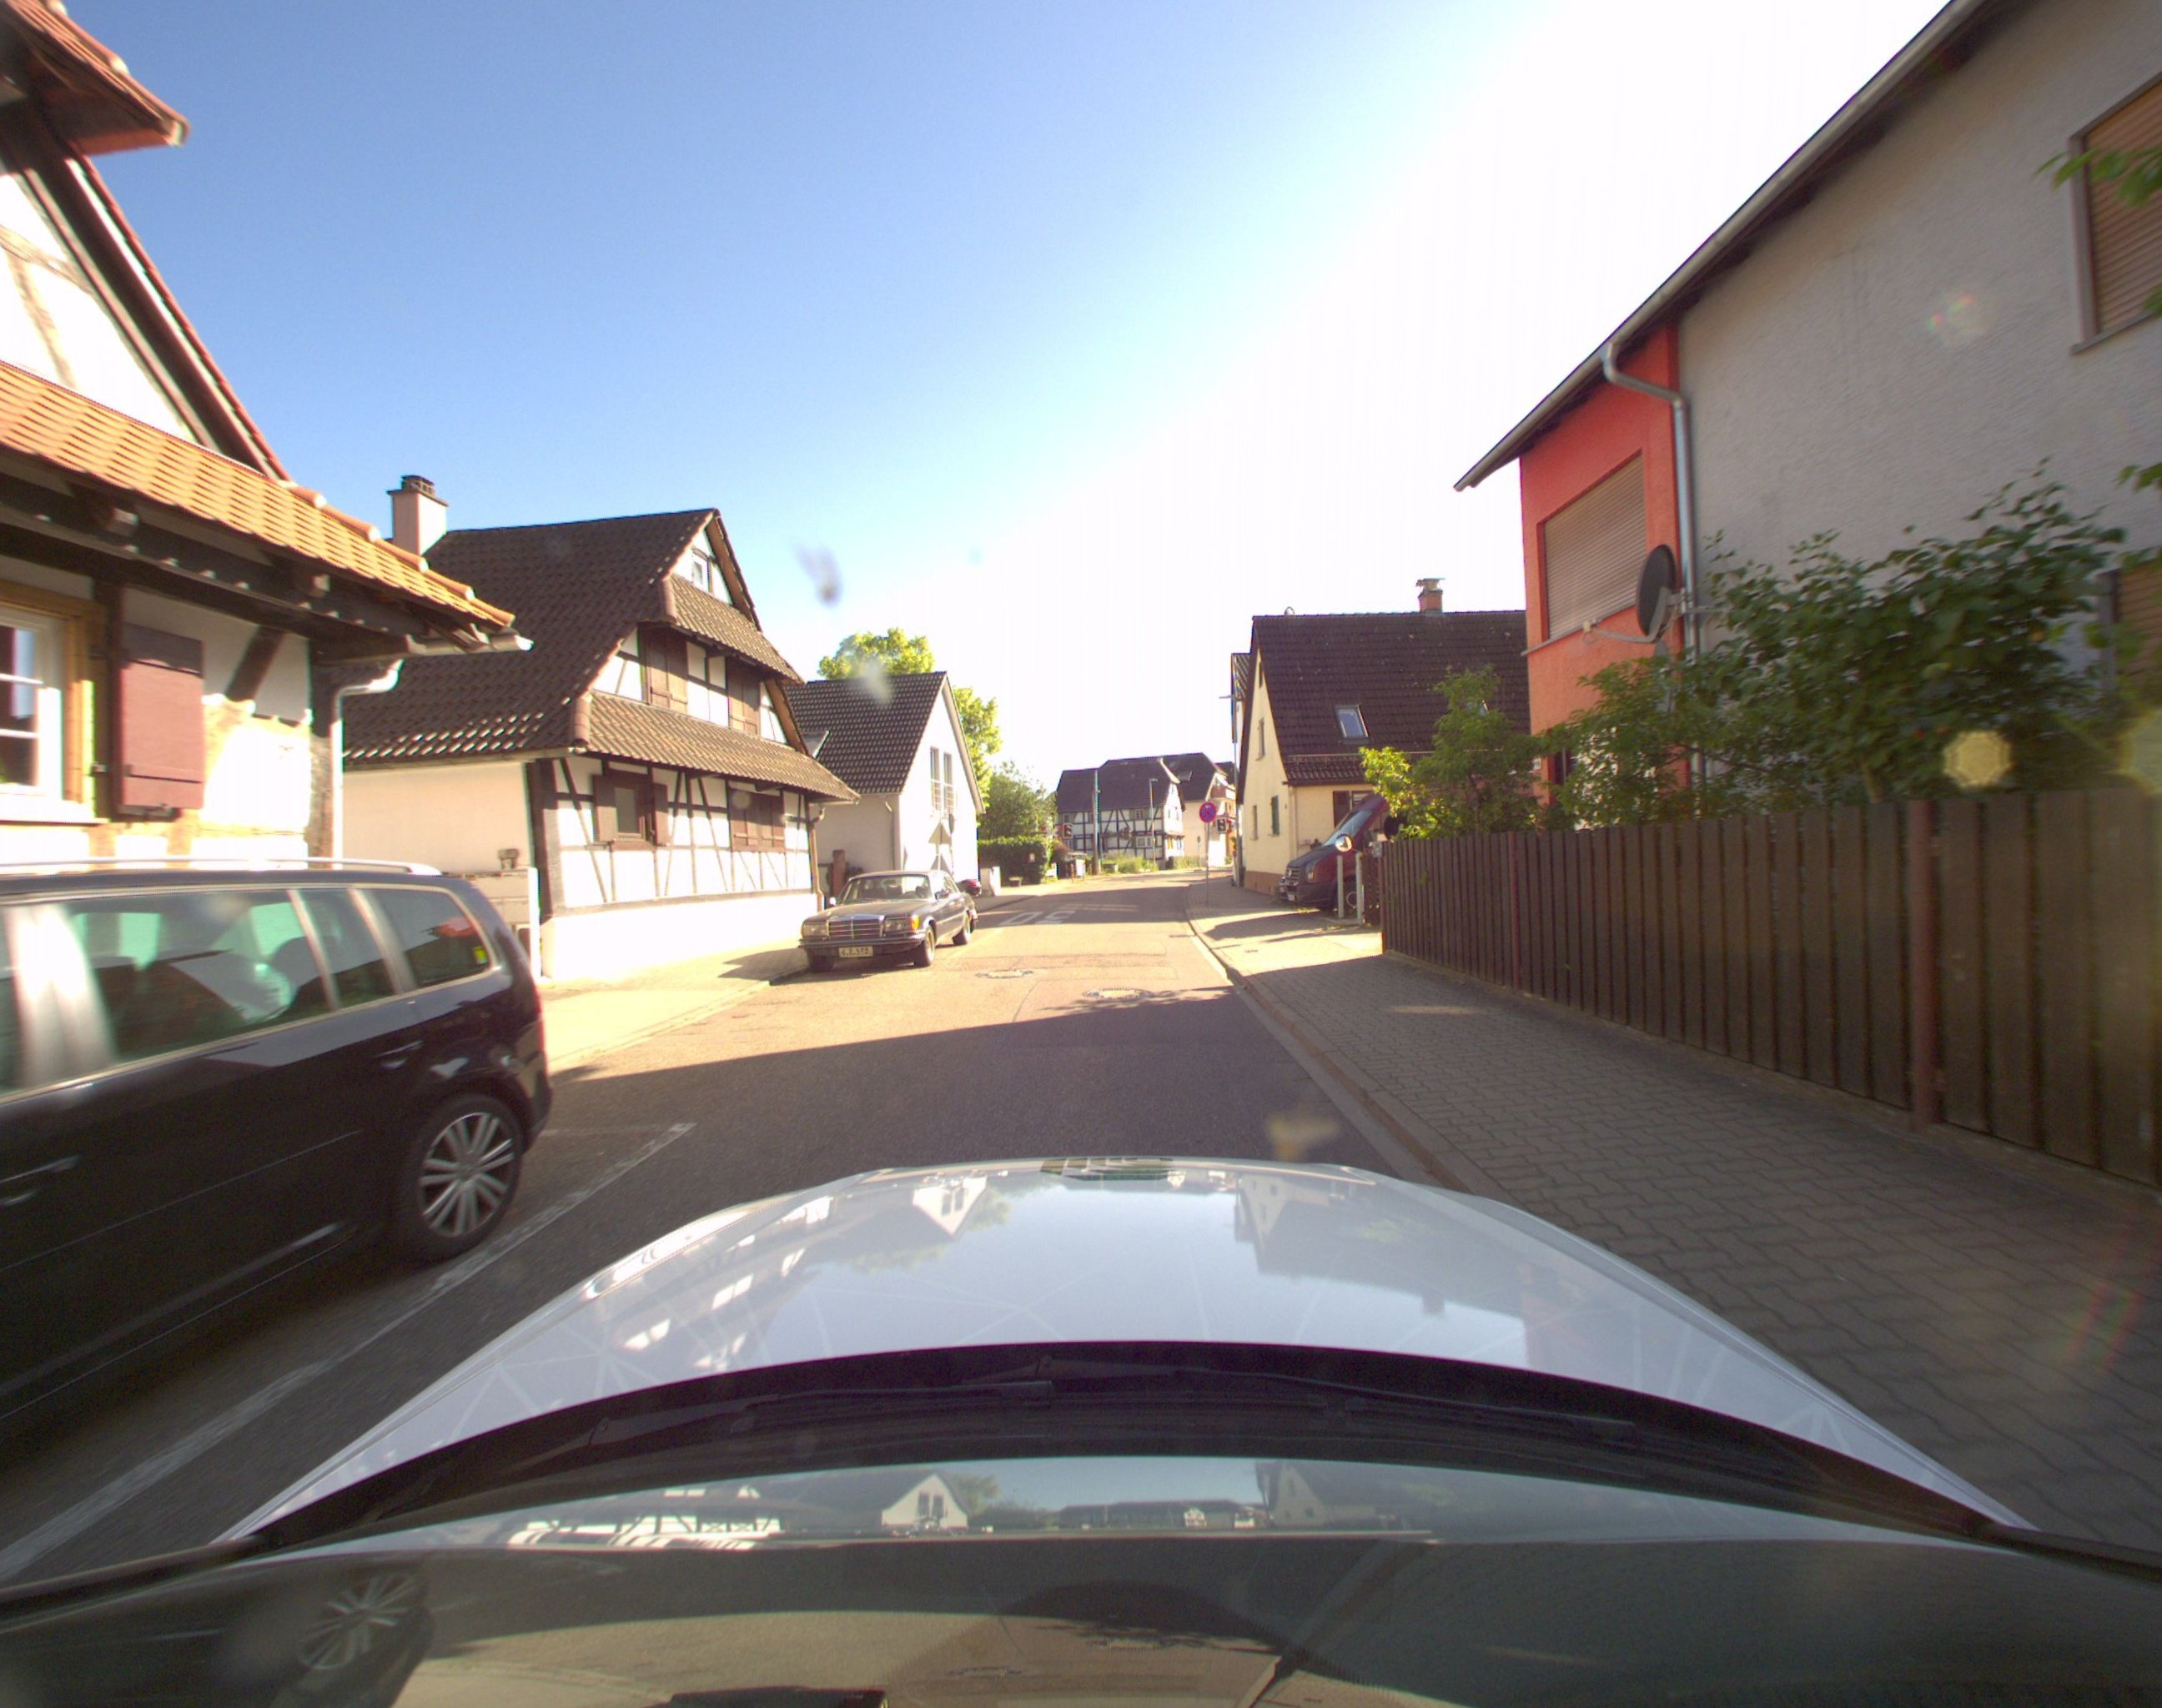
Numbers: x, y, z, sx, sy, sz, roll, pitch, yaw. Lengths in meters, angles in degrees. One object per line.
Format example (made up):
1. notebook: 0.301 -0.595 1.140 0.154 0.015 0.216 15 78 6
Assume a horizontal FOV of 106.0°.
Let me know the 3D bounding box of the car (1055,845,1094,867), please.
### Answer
1. car: -0.526 0.178 62.369 1.690 1.564 3.971 0 -1 -21

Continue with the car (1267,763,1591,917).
1. car: 7.070 -0.267 16.964 5.788 2.655 1.966 -4 -2 -2

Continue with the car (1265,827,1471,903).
1. car: 6.957 0.280 20.046 4.360 1.487 1.839 -4 -1 0

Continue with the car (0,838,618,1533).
1. car: -3.403 0.800 2.053 1.777 1.605 4.363 -2 -1 2

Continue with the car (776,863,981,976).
1. car: -3.022 0.911 13.418 1.837 1.406 5.039 -3 -1 2

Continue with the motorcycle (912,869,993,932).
1. motorcycle: -2.733 0.963 17.173 0.630 1.231 1.970 -3 0 -44
